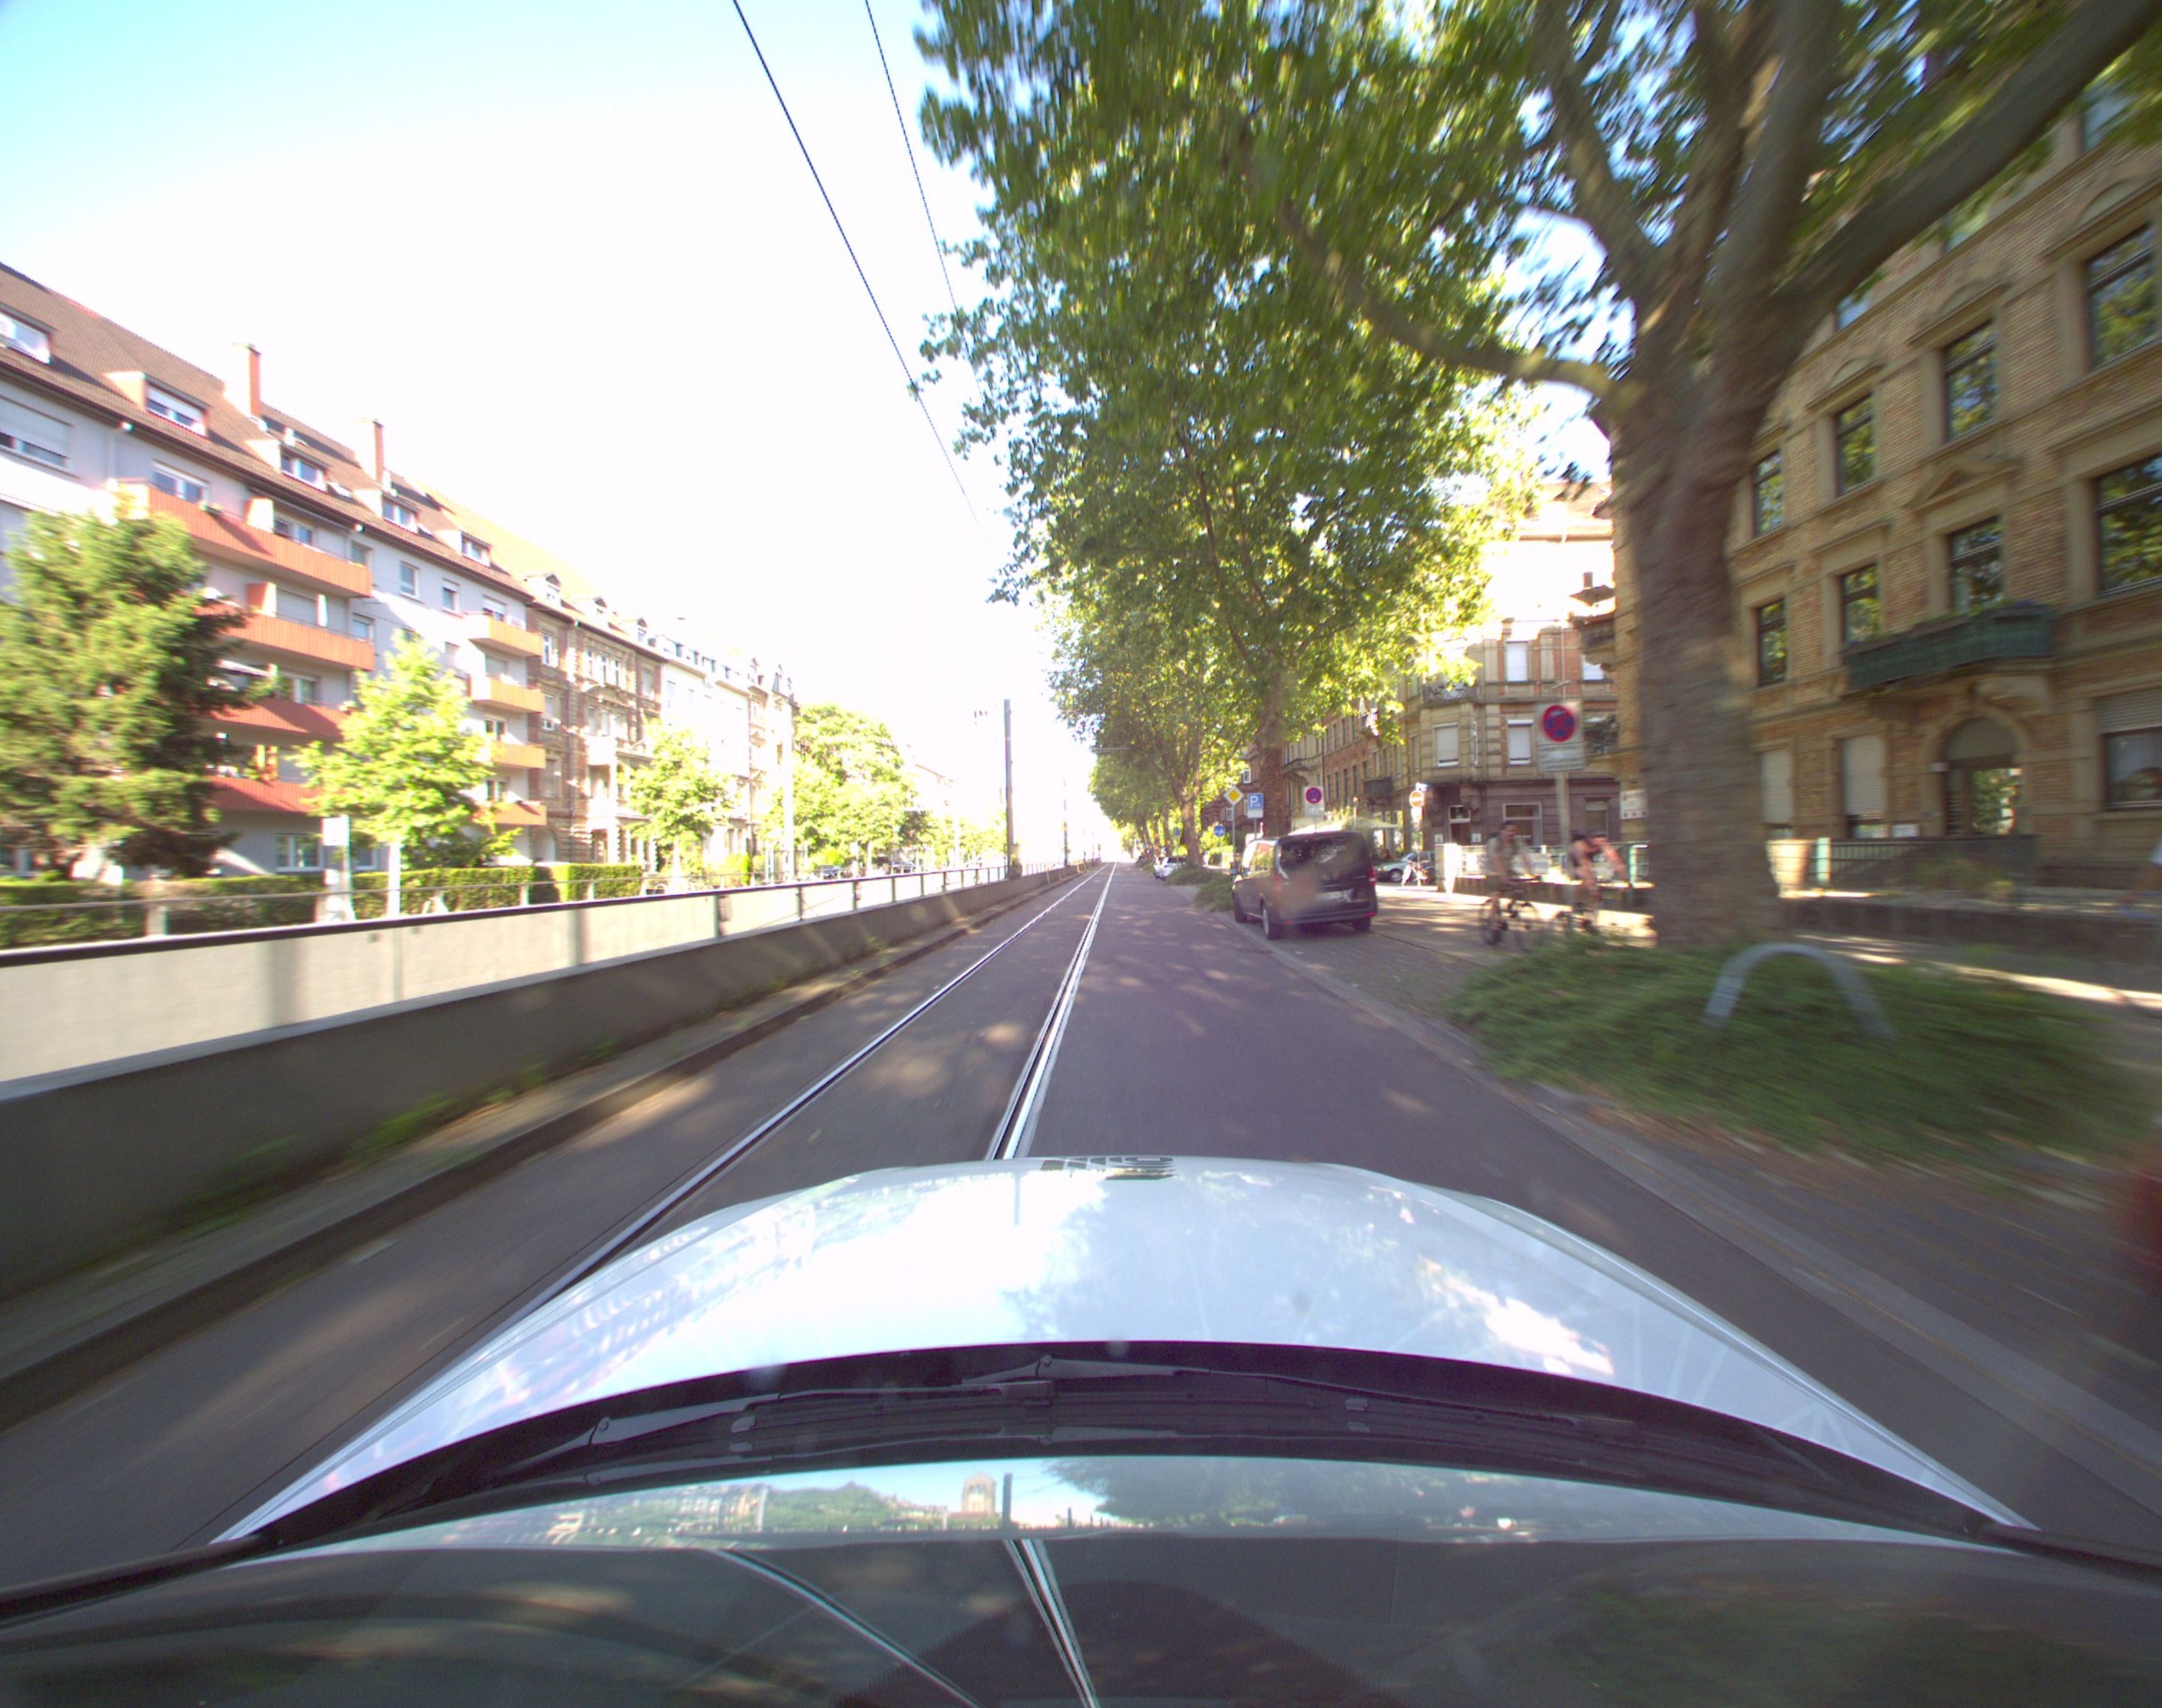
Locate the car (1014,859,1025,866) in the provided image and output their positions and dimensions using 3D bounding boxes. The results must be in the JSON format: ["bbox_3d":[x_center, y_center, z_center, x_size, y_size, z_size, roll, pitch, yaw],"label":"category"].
[{"bbox_3d":[-13.359,1.802,175.933,1.708,1.555,4.516,0,0,4],"label":"car"}]

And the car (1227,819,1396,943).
[{"bbox_3d":[4.408,0.425,16.532,1.986,2.013,5.203,-3,1,1],"label":"car"}]

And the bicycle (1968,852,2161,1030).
[{"bbox_3d":[7.640,0.598,5.646,0.558,1.178,2.227,-3,1,1],"label":"bicycle"}]

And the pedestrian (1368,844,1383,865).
[{"bbox_3d":[15.486,0.024,42.878,0.554,1.102,0.526,-2,0,2],"label":"pedestrian"}]

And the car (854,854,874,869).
[{"bbox_3d":[-26.761,0.892,100.522,1.993,1.849,4.466,0,0,-9],"label":"car"}]

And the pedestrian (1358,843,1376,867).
[{"bbox_3d":[15.910,0.061,45.340,0.710,1.300,0.663,-2,0,2],"label":"pedestrian"}]

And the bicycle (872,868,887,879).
[{"bbox_3d":[-17.823,1.744,72.039,1.272,0.905,0.534,0,0,-28],"label":"bicycle"}]

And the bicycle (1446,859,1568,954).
[{"bbox_3d":[5.926,0.680,11.489,0.558,1.178,2.227,-3,-1,2],"label":"bicycle"}]

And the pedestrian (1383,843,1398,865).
[{"bbox_3d":[16.212,0.006,42.599,0.554,1.138,0.526,-2,0,2],"label":"pedestrian"}]

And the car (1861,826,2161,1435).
[{"bbox_3d":[3.551,0.672,0.581,1.708,1.549,4.503,-4,-1,2],"label":"car"}]

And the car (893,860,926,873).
[{"bbox_3d":[-22.302,1.602,105.854,3.983,1.624,1.821,-1,0,-7],"label":"car"}]

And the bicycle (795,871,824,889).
[{"bbox_3d":[-18.561,1.798,55.699,1.800,1.178,0.563,0,0,4],"label":"bicycle"}]

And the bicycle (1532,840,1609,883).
[{"bbox_3d":[14.107,0.203,23.504,1.853,1.153,0.477,-2,0,6],"label":"bicycle"}]

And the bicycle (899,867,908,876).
[{"bbox_3d":[-20.076,1.985,92.052,0.457,1.005,1.926,0,-3,-28],"label":"bicycle"}]

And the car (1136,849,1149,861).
[{"bbox_3d":[8.937,0.180,118.549,1.610,1.587,4.419,-3,0,2],"label":"car"}]

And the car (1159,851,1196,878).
[{"bbox_3d":[5.714,0.584,48.851,1.795,1.477,4.649,-2,0,2],"label":"car"}]

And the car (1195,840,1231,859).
[{"bbox_3d":[16.738,-0.613,103.555,4.162,2.013,2.000,-5,0,0],"label":"car"}]

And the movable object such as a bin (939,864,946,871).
[{"bbox_3d":[-19.357,1.915,113.754,0.894,0.919,0.783,0,0,-3],"label":"movable object such as a bin"}]

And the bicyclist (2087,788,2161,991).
[{"bbox_3d":[7.623,0.230,5.618,0.541,1.380,0.644,-3,1,1],"label":"bicyclist"}]

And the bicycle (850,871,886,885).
[{"bbox_3d":[-17.531,1.931,66.937,2.795,1.098,0.637,0,0,-30],"label":"bicycle"}]

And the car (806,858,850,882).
[{"bbox_3d":[-18.185,1.135,58.702,1.826,1.585,4.000,0,0,0],"label":"car"}]

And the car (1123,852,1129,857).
[{"bbox_3d":[11.937,0.128,216.229,1.739,1.462,3.646,0,1,2],"label":"car"}]

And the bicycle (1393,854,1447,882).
[{"bbox_3d":[12.136,0.502,29.136,1.690,0.917,0.601,-2,0,-9],"label":"bicycle"}]

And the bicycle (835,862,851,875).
[{"bbox_3d":[-21.235,1.269,72.683,0.553,1.098,2.377,0,0,3],"label":"bicycle"}]

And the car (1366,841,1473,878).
[{"bbox_3d":[14.907,0.234,35.970,3.975,1.364,1.743,-3,2,-1],"label":"car"}]

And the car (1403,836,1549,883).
[{"bbox_3d":[14.856,0.188,30.748,4.591,1.548,1.921,-2,0,-3],"label":"car"}]

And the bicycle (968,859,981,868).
[{"bbox_3d":[-15.492,1.402,118.650,1.721,1.279,0.601,-2,0,8],"label":"bicycle"}]

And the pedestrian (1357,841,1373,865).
[{"bbox_3d":[16.113,-0.049,46.179,0.658,1.300,0.715,-2,0,2],"label":"pedestrian"}]

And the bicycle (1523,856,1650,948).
[{"bbox_3d":[7.061,0.626,11.503,0.558,1.178,2.022,-2,-1,2],"label":"bicycle"}]

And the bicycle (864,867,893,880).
[{"bbox_3d":[-17.753,1.702,71.420,2.381,1.098,0.552,0,0,-28],"label":"bicycle"}]

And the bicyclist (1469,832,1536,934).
[{"bbox_3d":[5.929,0.398,11.479,0.567,1.380,0.644,-3,0,2],"label":"bicyclist"}]

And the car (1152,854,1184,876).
[{"bbox_3d":[5.740,0.685,54.078,1.822,1.326,4.003,-2,0,3],"label":"car"}]

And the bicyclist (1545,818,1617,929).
[{"bbox_3d":[7.033,0.265,11.486,0.567,1.487,0.644,-3,0,2],"label":"bicyclist"}]
